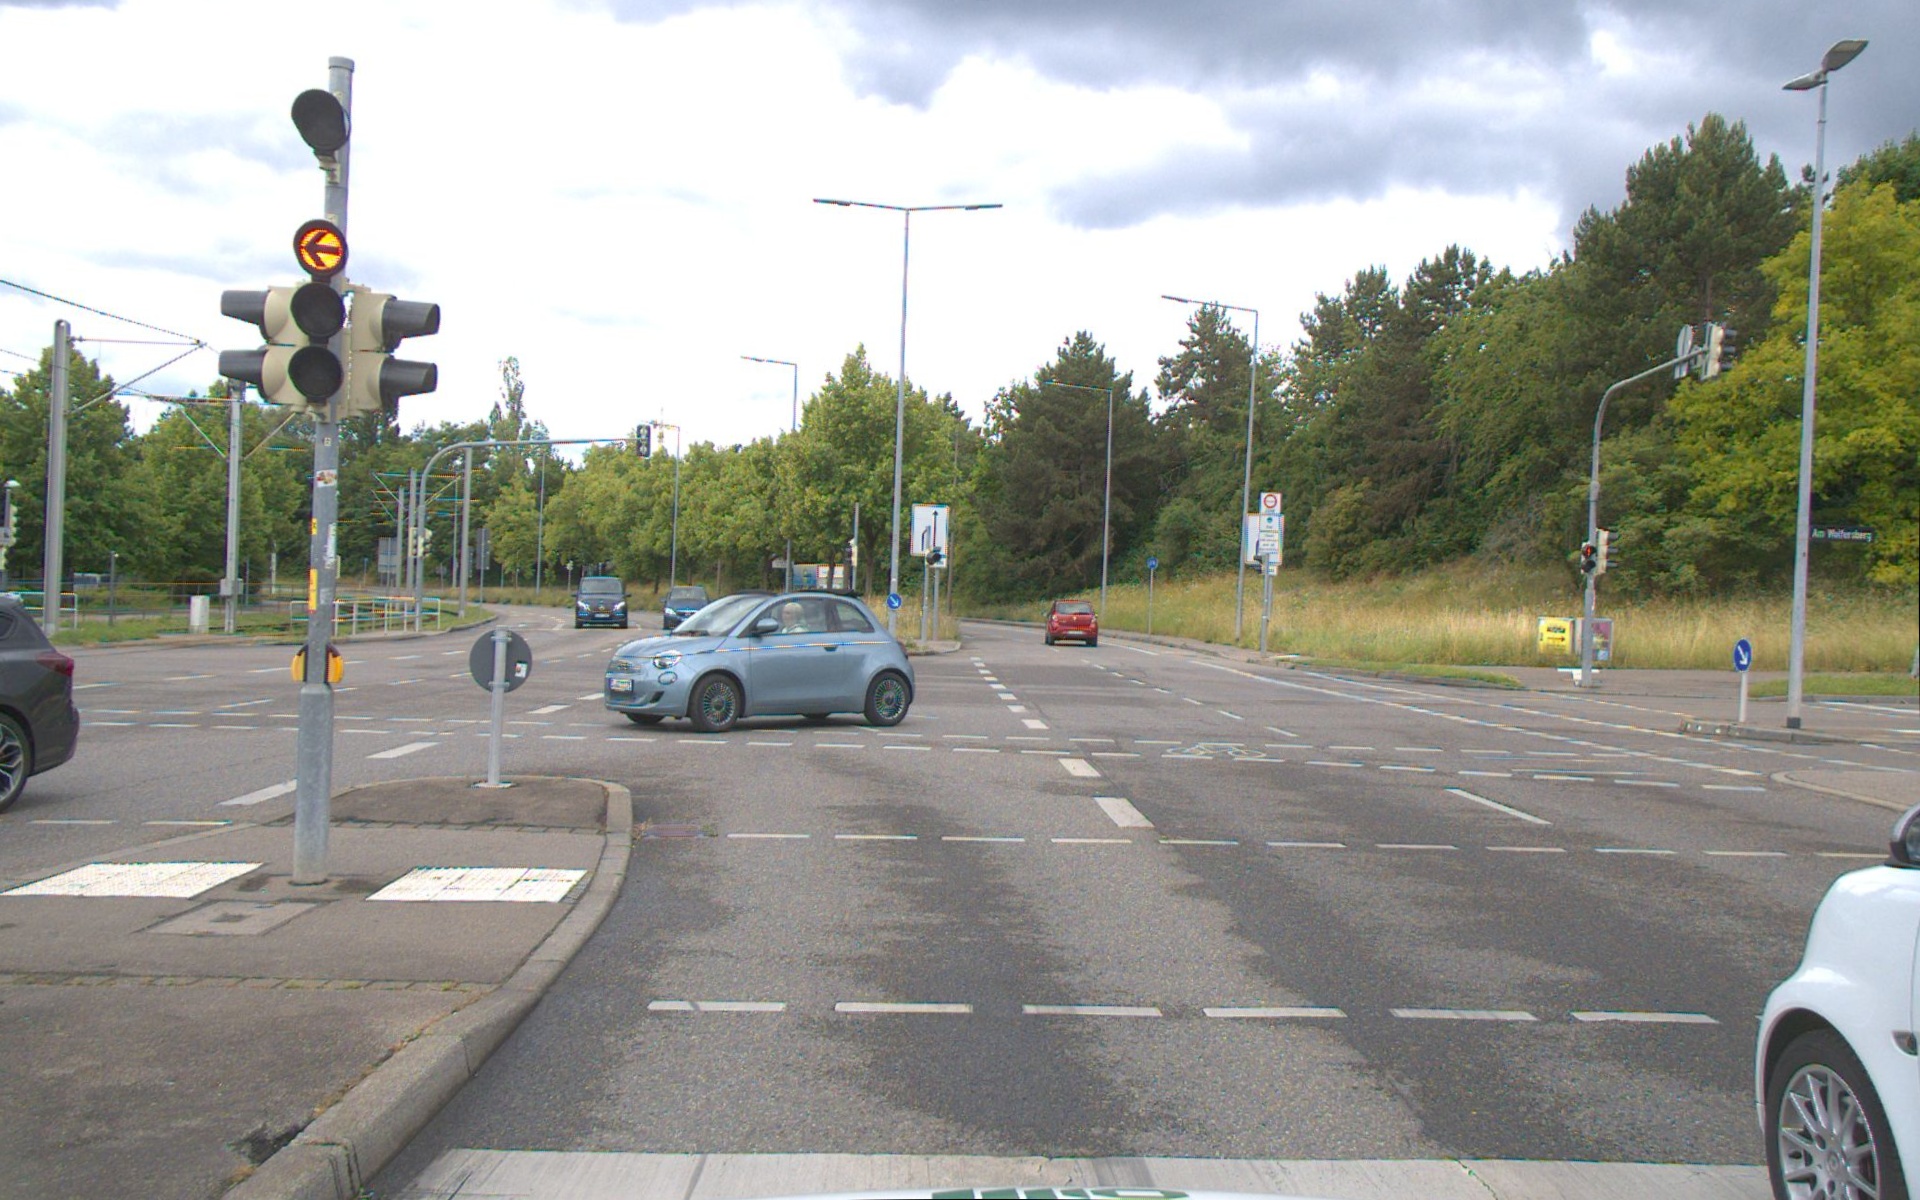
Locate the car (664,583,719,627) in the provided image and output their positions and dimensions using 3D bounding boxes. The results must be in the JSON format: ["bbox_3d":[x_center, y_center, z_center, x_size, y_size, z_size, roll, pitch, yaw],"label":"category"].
[{"bbox_3d":[-9.784,0.190,60.506,1.702,1.535,3.656,1,0,-5],"label":"car"}]

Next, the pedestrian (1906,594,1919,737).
[{"bbox_3d":[11.729,0.784,19.615,0.630,1.691,0.714,1,-1,6],"label":"pedestrian"}]

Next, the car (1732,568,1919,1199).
[{"bbox_3d":[2.733,0.716,2.803,1.559,1.543,2.766,1,0,0],"label":"car"}]

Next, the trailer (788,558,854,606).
[{"bbox_3d":[-9.319,-1.193,110.522,2.708,3.065,6.046,1,0,-22],"label":"trailer"}]

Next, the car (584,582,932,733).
[{"bbox_3d":[-2.242,0.613,18.765,3.565,1.555,1.737,1,-1,-39],"label":"car"}]

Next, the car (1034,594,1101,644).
[{"bbox_3d":[3.698,0.645,57.399,1.749,1.631,3.883,1,0,-5],"label":"car"}]

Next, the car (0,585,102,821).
[{"bbox_3d":[-7.142,0.604,9.029,1.830,1.449,4.436,1,0,15],"label":"car"}]

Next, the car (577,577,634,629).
[{"bbox_3d":[-13.249,0.094,62.037,1.853,1.844,5.080,0,0,-10],"label":"car"}]
